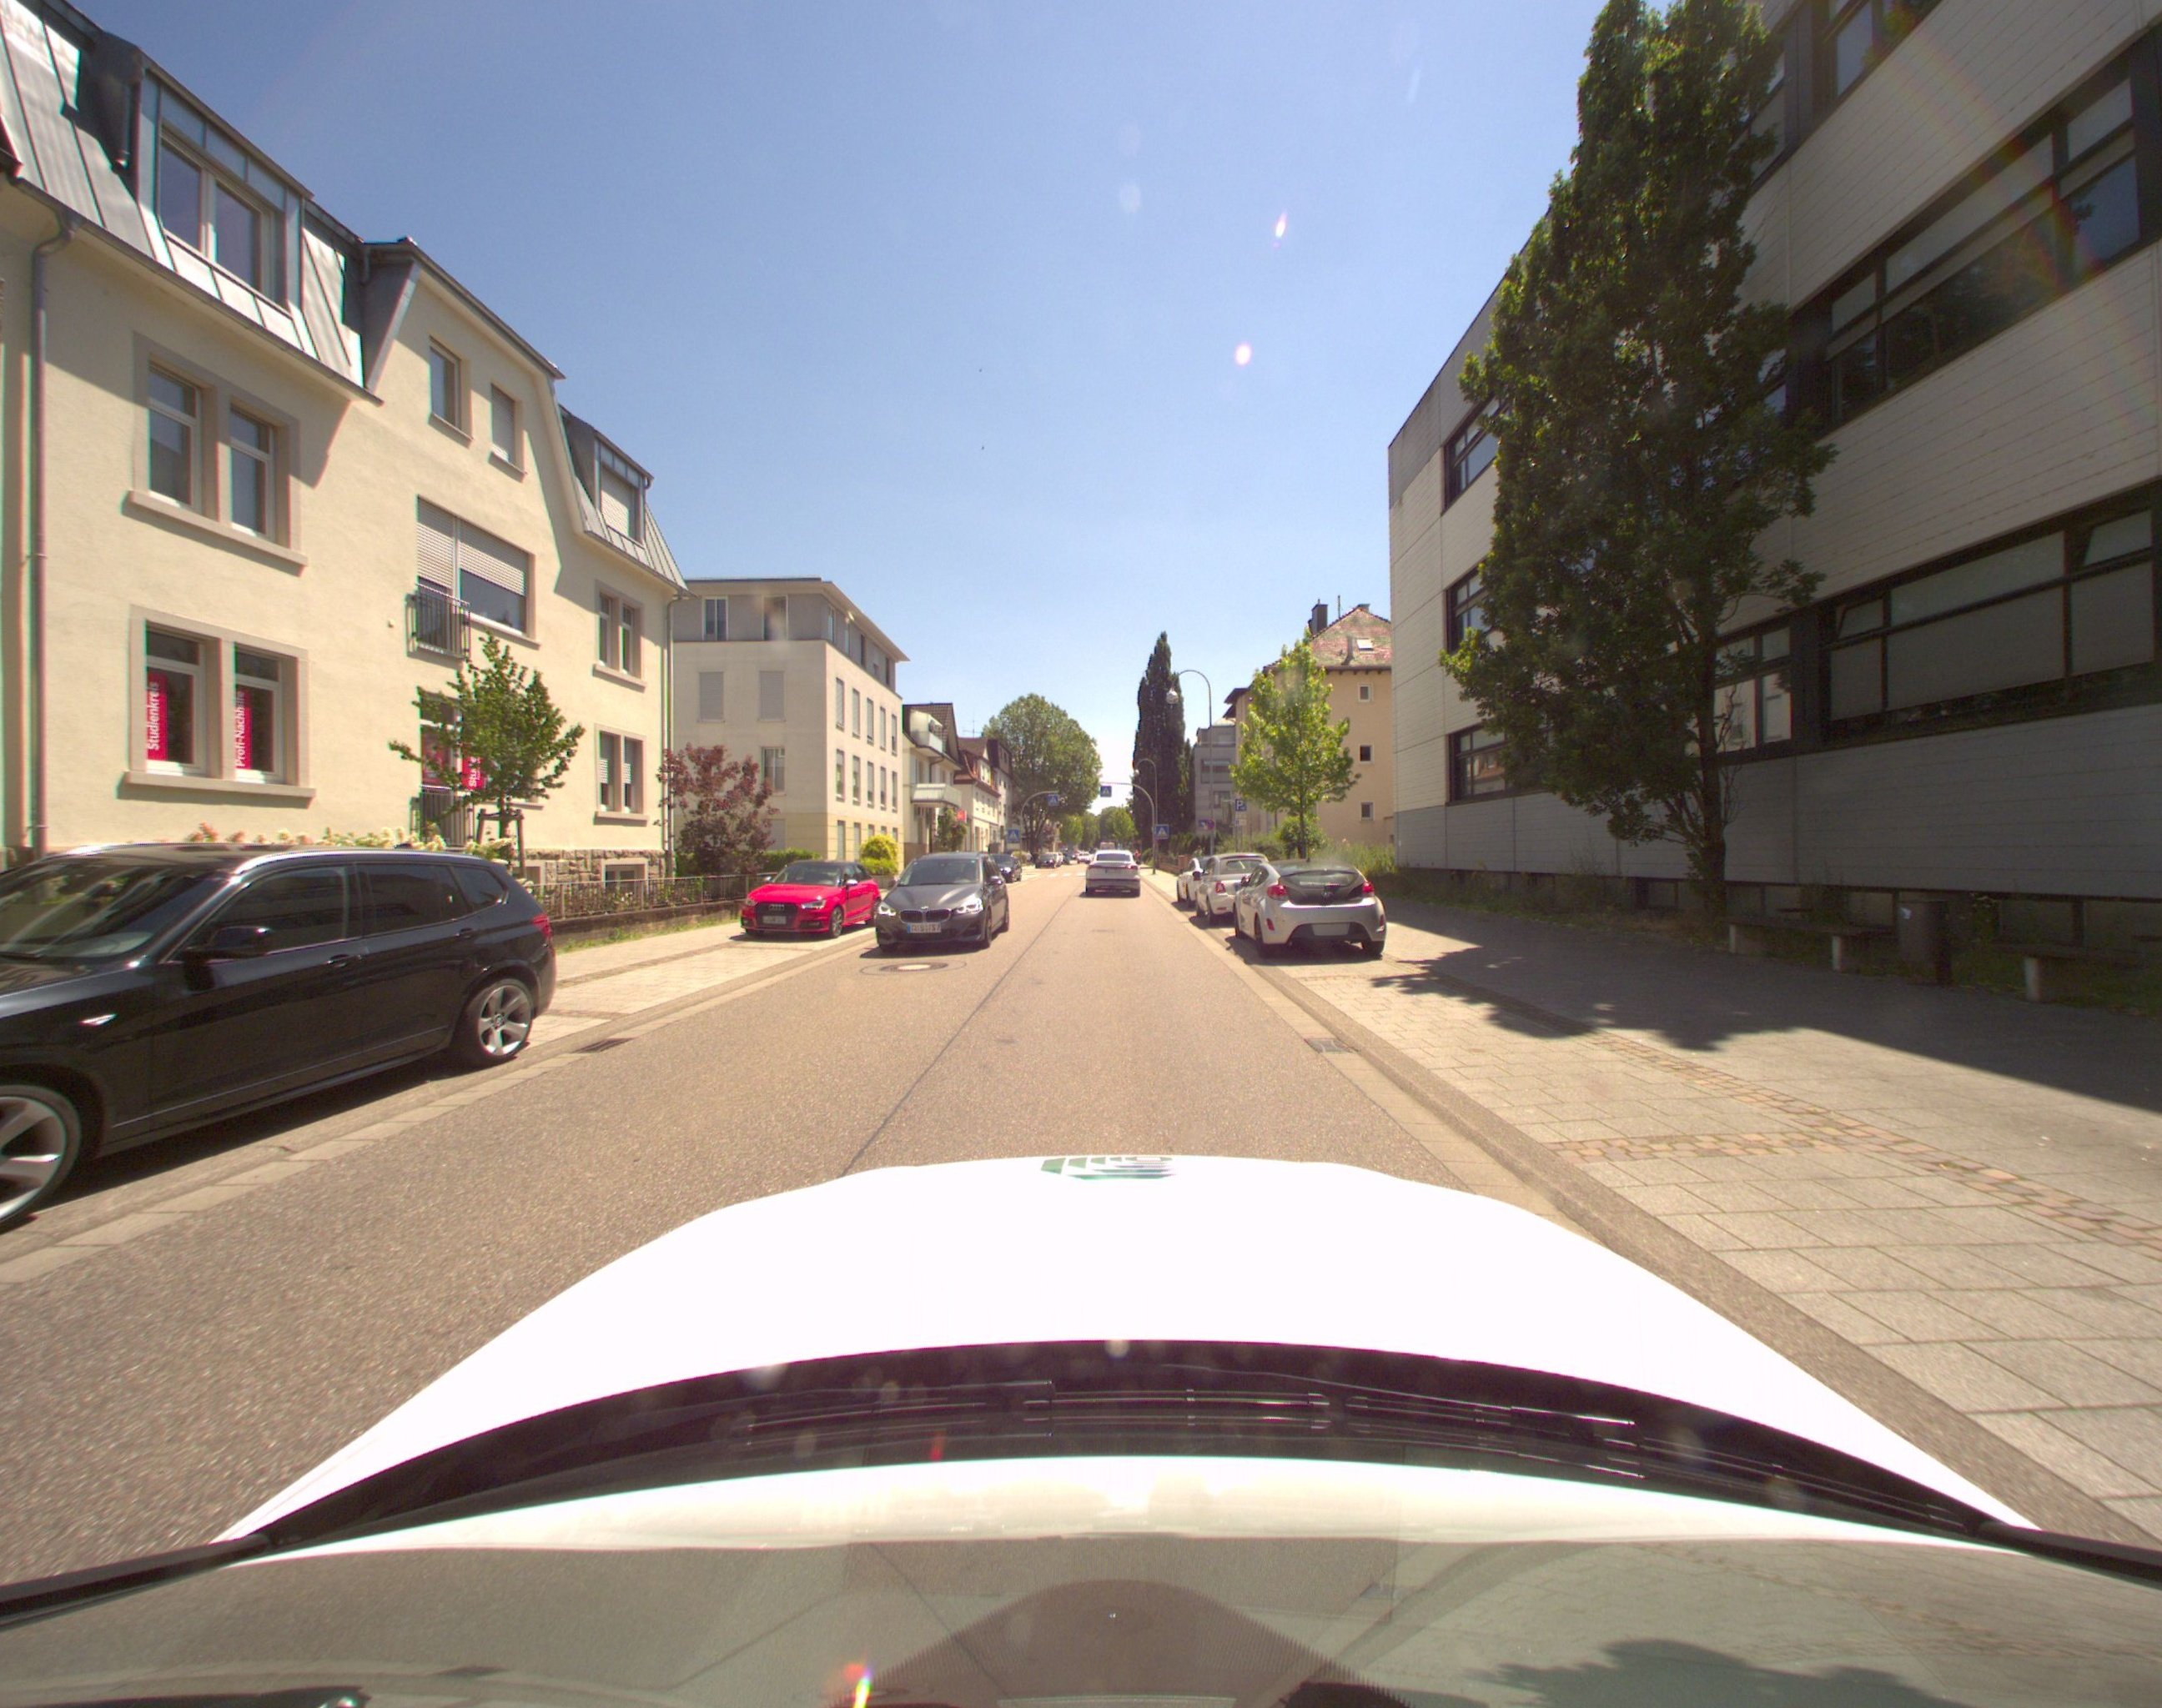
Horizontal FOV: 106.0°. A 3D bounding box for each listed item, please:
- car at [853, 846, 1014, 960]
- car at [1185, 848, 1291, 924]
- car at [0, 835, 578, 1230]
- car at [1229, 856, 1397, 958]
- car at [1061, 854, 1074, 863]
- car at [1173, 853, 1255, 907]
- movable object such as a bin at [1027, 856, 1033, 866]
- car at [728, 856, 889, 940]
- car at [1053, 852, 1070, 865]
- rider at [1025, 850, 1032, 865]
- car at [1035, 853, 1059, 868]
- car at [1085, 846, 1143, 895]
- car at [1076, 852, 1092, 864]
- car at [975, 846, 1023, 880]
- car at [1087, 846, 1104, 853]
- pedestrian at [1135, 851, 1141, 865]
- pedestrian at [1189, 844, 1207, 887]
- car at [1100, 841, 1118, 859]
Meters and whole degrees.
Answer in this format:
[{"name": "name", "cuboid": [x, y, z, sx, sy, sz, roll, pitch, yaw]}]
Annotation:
[{"name": "car", "cuboid": [-2.392, 0.737, 14.427, 1.967, 1.670, 4.472, -1, 0, 1]}, {"name": "car", "cuboid": [3.485, 0.664, 18.845, 1.653, 1.488, 4.346, -2, 0, 1]}, {"name": "car", "cuboid": [-5.306, 0.738, 4.722, 1.718, 1.619, 4.573, 2, 0, 2]}, {"name": "car", "cuboid": [3.534, 0.742, 13.171, 1.854, 1.373, 4.005, -1, 0, 5]}, {"name": "car", "cuboid": [-2.213, 0.746, 135.774, 1.987, 1.520, 4.000, -1, 0, 1]}, {"name": "car", "cuboid": [3.768, 0.695, 23.709, 1.720, 1.383, 4.403, -2, 0, 1]}, {"name": "movable object such as a bin", "cuboid": [-5.331, 0.713, 84.524, 0.585, 0.952, 0.567, -1, 0, 1]}, {"name": "car", "cuboid": [-5.257, 0.776, 16.258, 1.642, 1.419, 3.909, 2, 0, 3]}, {"name": "car", "cuboid": [-2.376, 0.564, 100.824, 1.987, 1.520, 4.000, -1, 0, 1]}, {"name": "rider", "cuboid": [-5.392, 0.398, 83.906, 0.659, 1.553, 0.661, -1, 0, 1]}, {"name": "car", "cuboid": [-3.179, 0.629, 77.143, 1.987, 1.349, 4.000, -1, 0, 1]}, {"name": "car", "cuboid": [1.206, 0.565, 29.974, 1.928, 1.614, 4.474, 2, 0, 2]}, {"name": "car", "cuboid": [0.409, 0.557, 104.583, 1.972, 1.520, 4.000, -1, 0, 1]}, {"name": "car", "cuboid": [-4.334, 0.463, 43.540, 1.918, 1.720, 4.474, -1, 0, 2]}, {"name": "car", "cuboid": [3.500, -1.049, 201.702, 3.964, 1.651, 2.005, -1, 0, 8]}, {"name": "pedestrian", "cuboid": [7.027, 0.482, 100.530, 0.692, 1.736, 0.667, -1, -1, -3]}, {"name": "pedestrian", "cuboid": [4.784, 0.472, 33.307, 0.636, 1.758, 0.616, -1, -1, -3]}, {"name": "car", "cuboid": [3.365, -0.471, 99.174, 2.063, 2.197, 5.137, 0, 0, 0]}]
